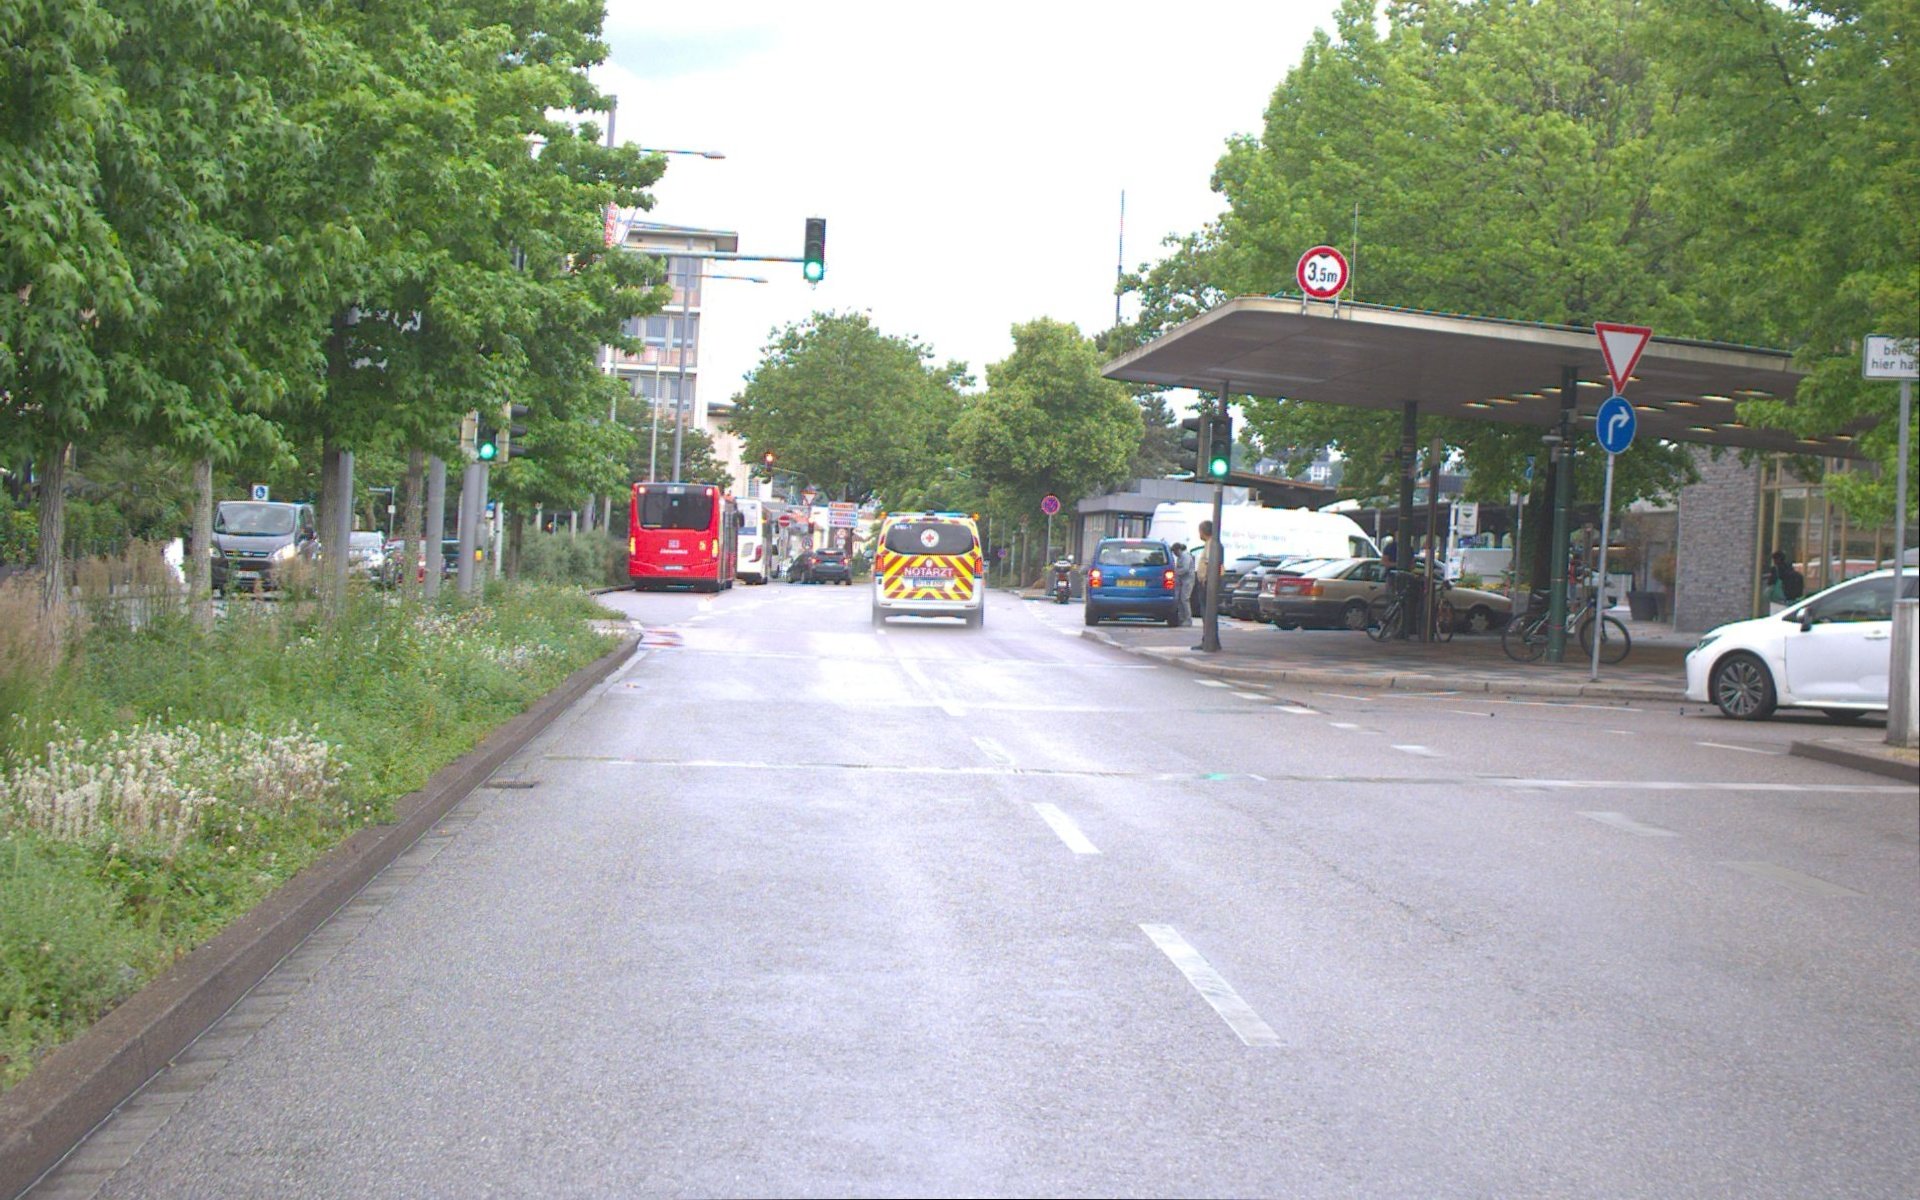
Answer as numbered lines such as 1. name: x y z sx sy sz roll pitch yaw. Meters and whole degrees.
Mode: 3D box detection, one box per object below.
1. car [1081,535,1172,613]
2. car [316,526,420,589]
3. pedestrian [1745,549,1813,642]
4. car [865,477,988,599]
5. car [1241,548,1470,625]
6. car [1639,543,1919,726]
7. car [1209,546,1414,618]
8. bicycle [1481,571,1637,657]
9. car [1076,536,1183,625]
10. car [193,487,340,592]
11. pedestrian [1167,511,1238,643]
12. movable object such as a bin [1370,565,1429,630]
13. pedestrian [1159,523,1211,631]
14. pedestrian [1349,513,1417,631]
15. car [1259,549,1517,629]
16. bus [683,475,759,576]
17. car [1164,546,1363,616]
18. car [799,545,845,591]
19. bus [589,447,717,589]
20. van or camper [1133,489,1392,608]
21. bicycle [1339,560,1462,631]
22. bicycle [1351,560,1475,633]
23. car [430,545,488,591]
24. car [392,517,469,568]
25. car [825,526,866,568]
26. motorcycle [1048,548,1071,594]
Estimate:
1. car: 3.393 -0.534 70.361 1.788 1.517 3.681 1 0 2
2. car: -14.850 -1.079 86.462 1.993 1.538 4.633 0 1 -2
3. pedestrian: 13.726 -0.081 57.627 0.865 1.553 0.814 0 1 -9
4. car: -0.623 -1.060 59.481 1.993 2.007 5.062 0 1 -2
5. car: 7.499 -0.258 65.103 3.987 1.354 1.865 1 0 -33
6. car: 8.500 0.304 30.421 1.759 1.540 4.775 1 1 -42
7. car: 7.532 -0.378 73.657 3.986 1.438 1.865 1 0 -29
8. bicycle: 7.346 0.171 42.164 1.827 1.052 0.420 0 1 -2
9. car: 3.140 -0.361 64.392 1.858 1.563 4.000 1 0 1
10. car: -13.777 -1.197 68.544 1.993 2.007 5.001 0 1 -1
11. pedestrian: 3.251 -0.304 46.129 0.746 1.741 0.836 1 0 -11
12. movable object such as a bin: 7.237 -0.039 56.628 0.751 1.063 0.749 0 1 -11
13. pedestrian: 4.224 -0.434 64.641 0.831 2.007 0.889 0 1 -7
14. pedestrian: 6.676 -0.437 54.334 0.856 1.829 1.190 1 0 -3
15. car: 7.640 -0.203 61.439 4.184 1.321 1.841 1 0 -22
16. bus: -9.219 -2.833 132.361 2.805 3.734 10.447 0 1 -4
17. car: 6.699 -0.412 75.827 3.986 1.438 1.865 1 0 -29
18. car: -6.088 -1.442 151.975 1.993 2.007 4.000 0 1 -2
19. bus: -9.029 -2.388 102.368 3.544 3.966 11.173 0 1 -4
20. van or camper: 7.222 -1.216 81.893 5.946 2.753 2.199 0 1 -29
21. bicycle: 6.541 -0.070 51.051 1.827 1.052 0.420 0 1 -20
22. bicycle: 6.672 -0.056 50.608 1.827 1.052 0.420 0 1 -20
23. car: -17.071 -1.102 117.254 1.597 1.525 3.653 0 1 -2
24. car: -15.120 -1.645 98.333 1.747 1.425 3.954 0 1 -2
25. car: -5.587 -2.556 167.275 1.993 2.007 4.000 0 1 -2
26. motorcycle: 2.871 -0.845 98.639 0.595 1.284 1.953 1 1 3
